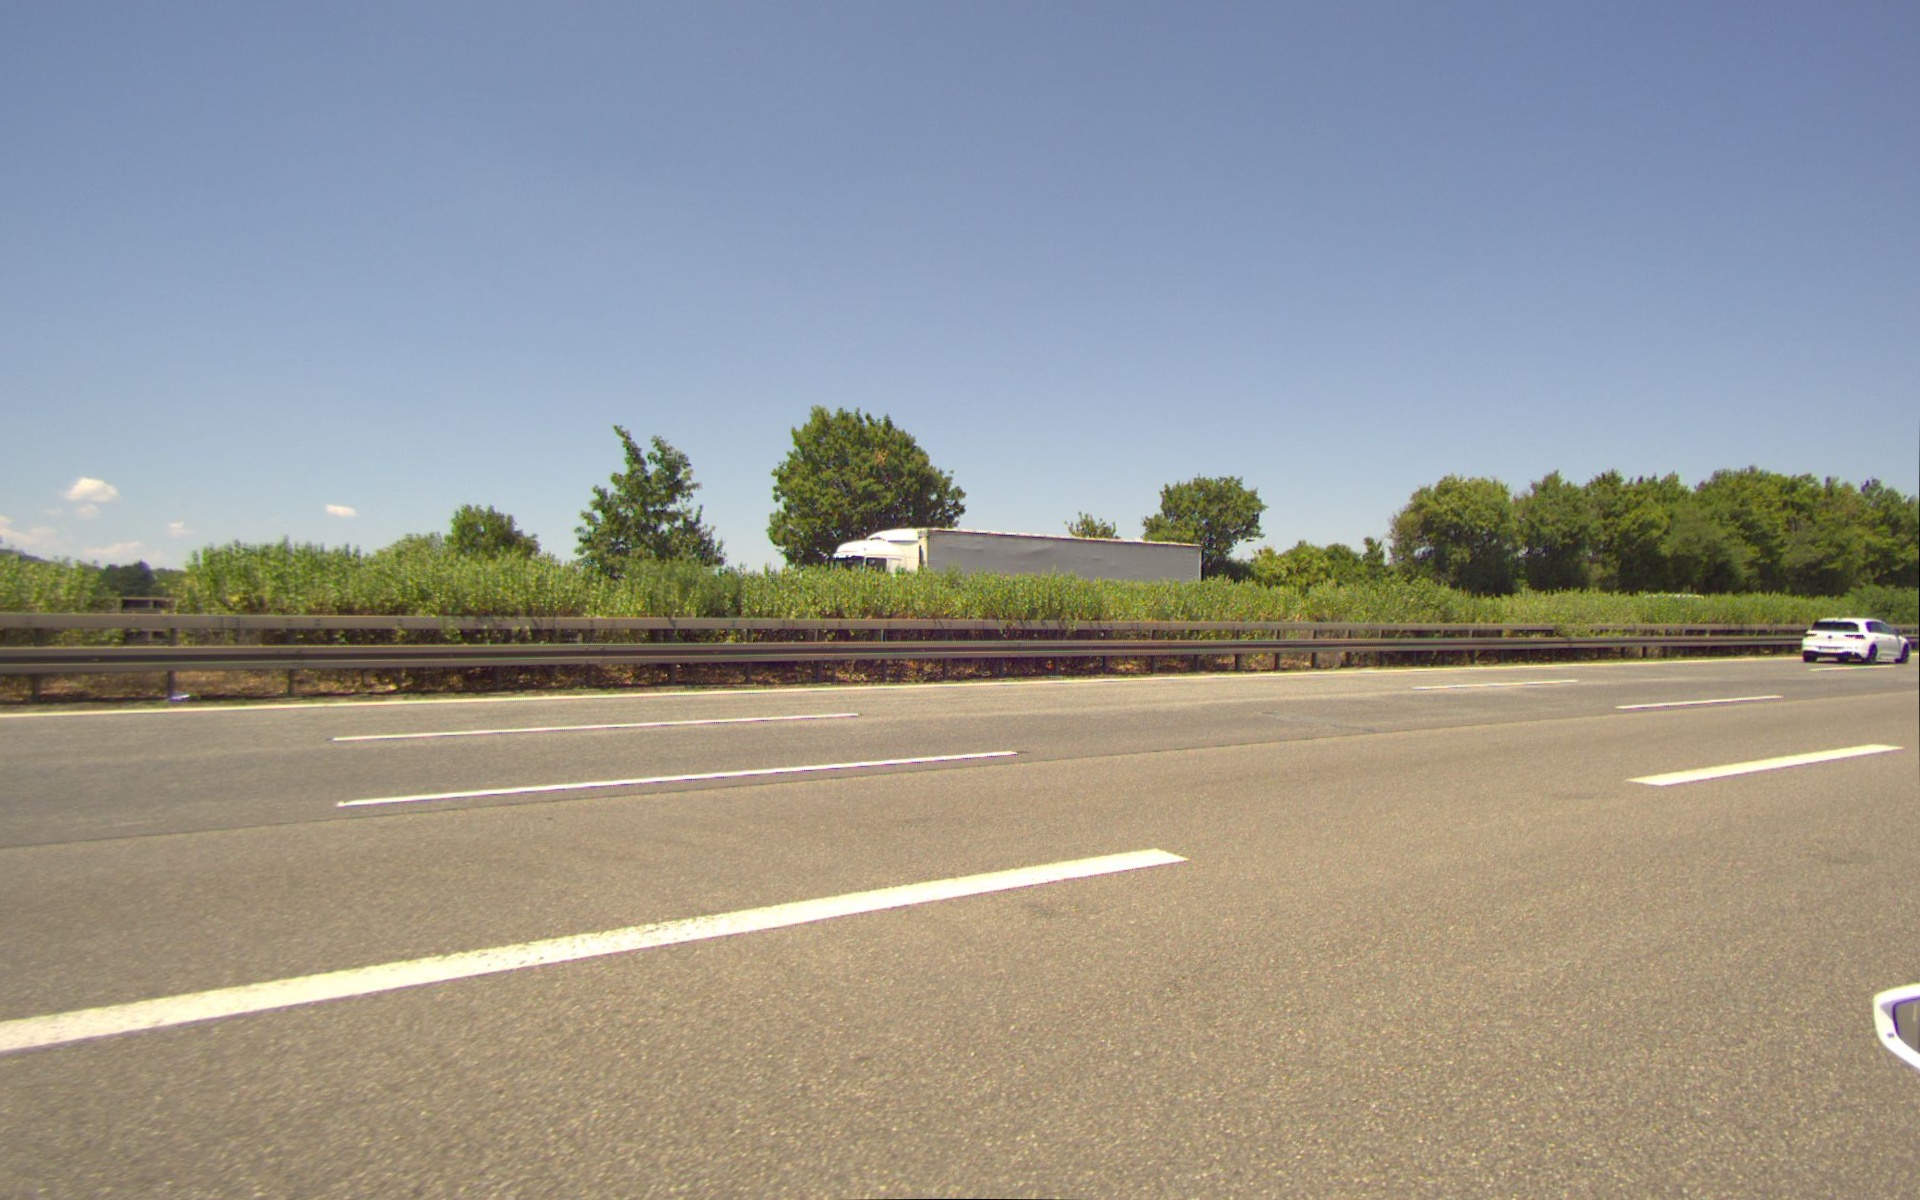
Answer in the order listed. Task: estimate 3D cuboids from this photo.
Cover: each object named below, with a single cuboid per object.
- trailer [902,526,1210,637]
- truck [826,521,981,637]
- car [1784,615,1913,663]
[{"bbox_3d":[4.251,-0.567,40.819,13.562,4.000,2.525,1,0,-31],"label":"trailer"},{"bbox_3d":[-2.066,-0.705,37.032,5.107,4.000,2.525,1,0,-31],"label":"truck"},{"bbox_3d":[29.014,1.245,32.773,4.613,1.460,1.773,1,0,-30],"label":"car"}]
